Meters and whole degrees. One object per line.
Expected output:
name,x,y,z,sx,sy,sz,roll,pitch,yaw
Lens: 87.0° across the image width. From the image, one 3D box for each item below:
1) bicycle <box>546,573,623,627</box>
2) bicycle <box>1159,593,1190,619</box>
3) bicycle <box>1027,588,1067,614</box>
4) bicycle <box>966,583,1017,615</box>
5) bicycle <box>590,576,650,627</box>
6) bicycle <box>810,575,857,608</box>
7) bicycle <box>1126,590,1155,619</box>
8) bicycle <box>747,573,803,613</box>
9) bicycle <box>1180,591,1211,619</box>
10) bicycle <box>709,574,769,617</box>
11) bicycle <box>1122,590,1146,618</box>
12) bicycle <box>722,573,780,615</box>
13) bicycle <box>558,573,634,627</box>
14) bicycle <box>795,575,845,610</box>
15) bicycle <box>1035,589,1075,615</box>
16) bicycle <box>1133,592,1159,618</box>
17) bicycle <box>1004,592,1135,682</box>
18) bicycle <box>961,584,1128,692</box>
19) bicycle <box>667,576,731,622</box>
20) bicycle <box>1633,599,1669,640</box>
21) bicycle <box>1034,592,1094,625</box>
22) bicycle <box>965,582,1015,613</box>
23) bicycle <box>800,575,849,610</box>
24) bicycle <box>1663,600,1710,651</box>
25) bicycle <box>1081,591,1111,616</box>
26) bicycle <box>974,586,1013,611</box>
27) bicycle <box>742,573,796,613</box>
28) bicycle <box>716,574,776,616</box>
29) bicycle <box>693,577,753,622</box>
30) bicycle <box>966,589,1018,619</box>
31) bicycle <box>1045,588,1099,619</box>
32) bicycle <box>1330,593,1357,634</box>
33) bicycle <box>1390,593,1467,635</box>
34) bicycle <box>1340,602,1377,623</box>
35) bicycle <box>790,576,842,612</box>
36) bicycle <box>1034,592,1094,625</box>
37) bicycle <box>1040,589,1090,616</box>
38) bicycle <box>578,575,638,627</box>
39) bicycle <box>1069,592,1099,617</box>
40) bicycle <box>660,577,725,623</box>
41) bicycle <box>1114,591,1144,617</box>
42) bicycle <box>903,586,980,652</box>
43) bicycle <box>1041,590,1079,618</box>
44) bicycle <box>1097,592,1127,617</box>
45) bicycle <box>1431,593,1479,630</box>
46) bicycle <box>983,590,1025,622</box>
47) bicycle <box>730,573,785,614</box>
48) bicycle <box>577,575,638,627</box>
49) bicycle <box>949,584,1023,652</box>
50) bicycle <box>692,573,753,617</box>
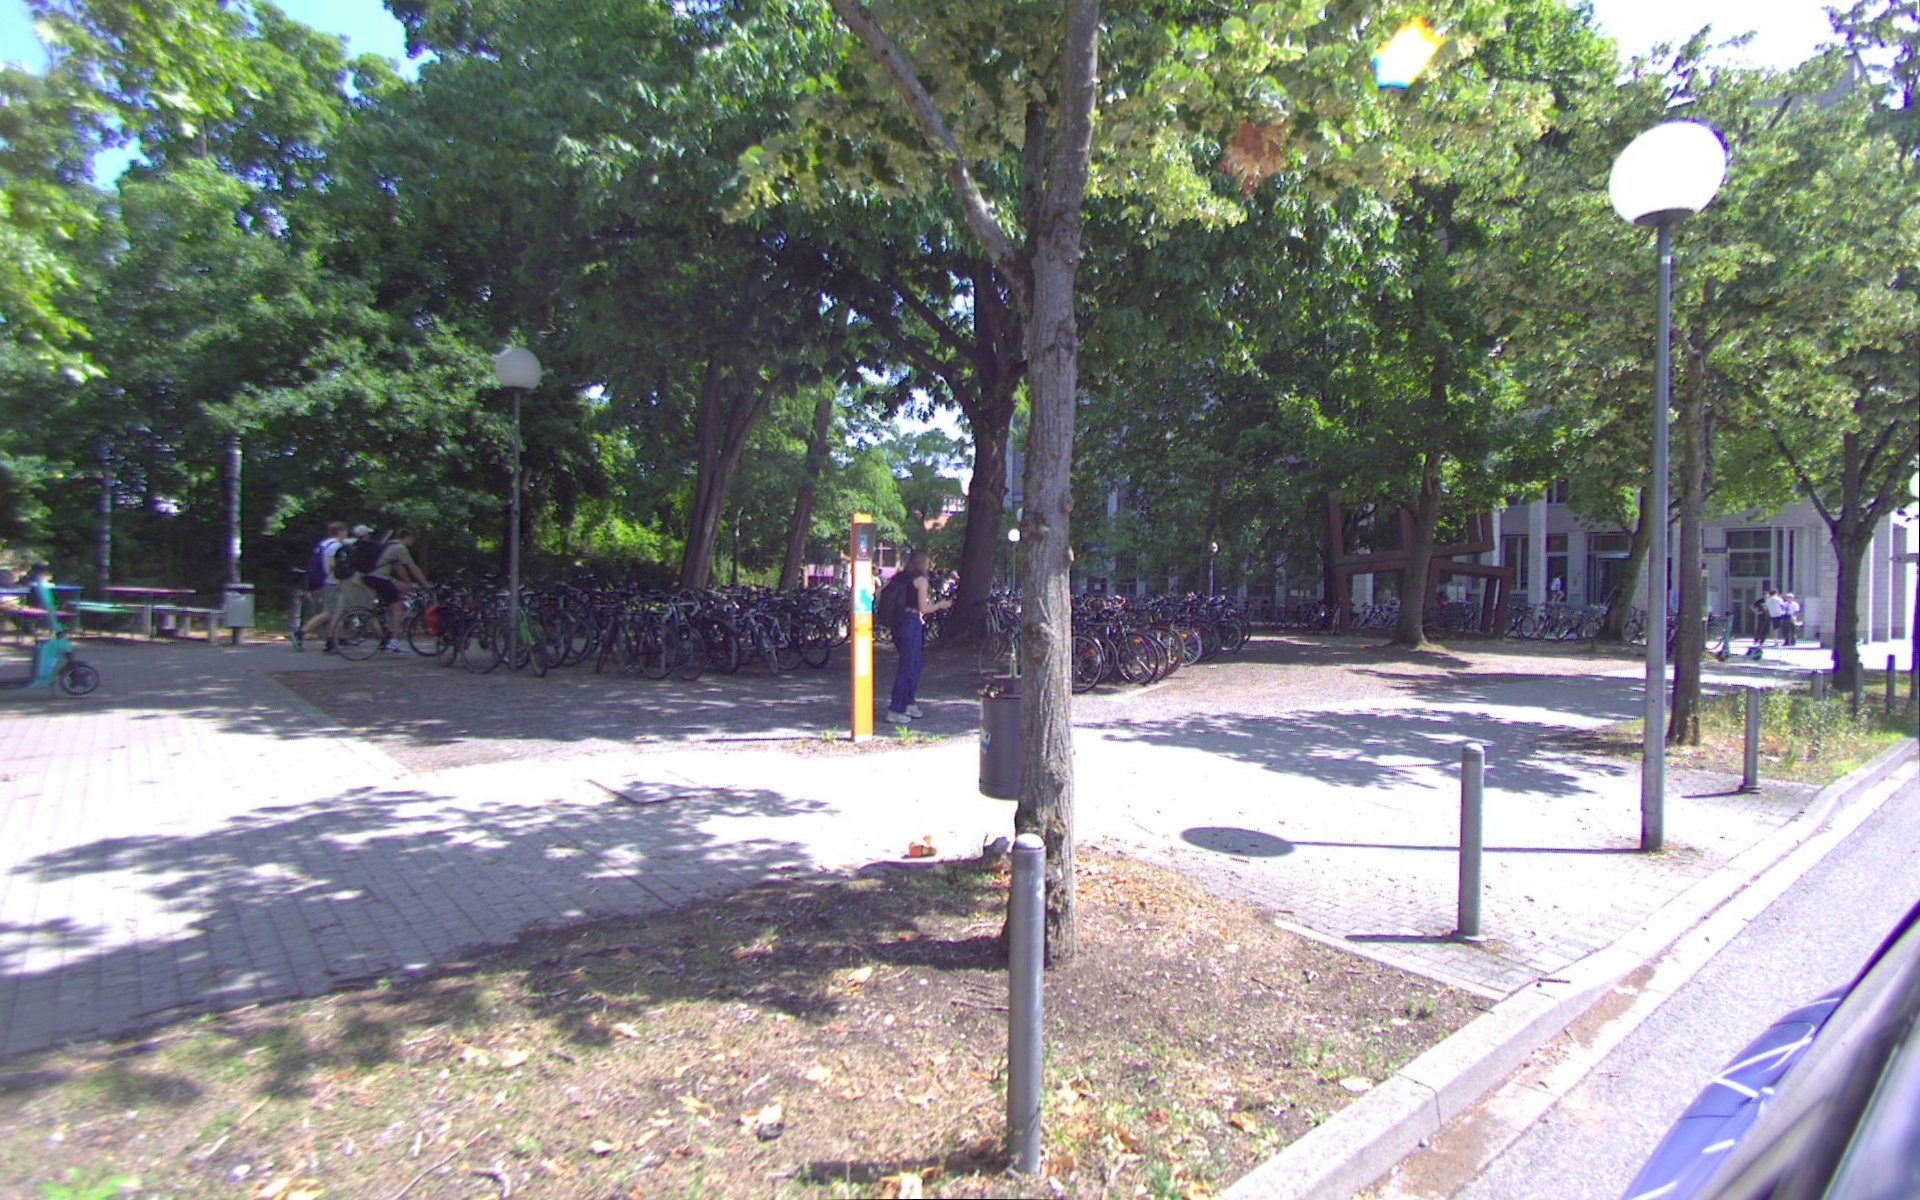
bicycle,-8.199,-0.008,22.100,1.734,1.107,0.475,2,1,24
bicycle,9.229,0.269,43.469,0.477,1.098,1.661,-2,-3,44
bicycle,3.797,0.059,44.296,1.653,1.098,0.479,0,-2,-9
bicycle,1.009,-0.036,32.564,1.571,0.991,0.403,2,1,11
bicycle,-7.888,0.012,23.463,1.598,1.107,0.344,3,2,31
bicycle,-4.456,-0.312,35.681,1.586,1.107,0.347,2,1,12
bicycle,7.147,0.173,40.102,1.448,1.097,0.352,1,0,-45
bicycle,-5.502,-0.211,30.108,1.592,1.107,0.475,2,1,21
bicycle,9.872,0.228,42.450,0.477,1.144,1.661,-2,-3,44
bicycle,-6.032,-0.137,27.664,1.592,1.107,0.475,2,1,21
bicycle,7.130,0.164,41.519,0.350,1.097,1.452,1,0,36
bicycle,-5.946,-0.177,28.725,1.592,1.107,0.475,2,1,21
bicycle,-8.070,-0.014,22.421,1.734,1.107,0.475,2,1,24
bicycle,-4.648,-0.244,33.574,1.586,1.107,0.347,2,1,12
bicycle,4.115,0.098,43.853,1.653,1.098,0.479,0,-2,-9
bicycle,8.190,0.224,44.517,0.475,1.098,1.666,-1,-2,35
bicycle,1.446,0.461,13.556,1.764,1.096,0.432,2,1,38
bicycle,1.003,0.426,12.387,2.010,1.181,0.643,2,1,38
bicycle,-6.731,-0.029,26.096,1.592,1.107,0.475,2,1,21
bicycle,20.616,0.584,30.184,1.464,1.155,0.560,3,1,-44
bicycle,3.339,0.259,32.548,1.871,0.991,0.478,2,1,6
bicycle,0.999,-0.085,33.683,1.571,0.991,0.403,2,1,11
bicycle,-4.552,-0.253,33.946,1.586,1.107,0.347,2,1,12
bicycle,17.320,0.595,24.164,0.622,1.097,1.674,-1,2,26
bicycle,6.247,0.158,46.361,0.477,1.098,1.661,-2,-3,44
bicycle,1.426,-0.060,43.632,1.655,1.098,0.479,0,-2,-2
bicycle,-5.620,-0.206,29.773,1.592,1.107,0.346,2,1,21
bicycle,-5.922,-0.144,27.998,1.592,1.107,0.475,2,1,21
bicycle,-6.238,-0.021,26.629,1.592,1.107,0.346,2,1,21
bicycle,1.126,0.133,35.183,1.769,0.991,0.378,2,1,3
bicycle,3.945,0.120,35.736,1.870,0.991,0.478,2,1,5
bicycle,11.416,0.384,30.162,0.468,1.123,1.664,1,2,12
bicycle,13.402,0.389,28.992,1.895,1.123,0.630,1,1,13
bicycle,17.958,0.558,45.595,1.739,0.911,0.449,1,-1,-22
bicycle,-4.669,-0.211,32.777,1.586,1.107,0.477,2,1,12
bicycle,3.299,0.268,32.172,1.871,0.991,0.478,2,1,6
bicycle,4.065,0.095,39.336,1.874,0.991,0.477,2,1,12
bicycle,-8.063,0.016,23.152,1.598,1.107,0.344,3,2,31
bicycle,5.873,0.224,47.732,0.527,1.098,1.661,-2,-3,44
bicycle,-6.807,-0.017,25.722,1.592,1.107,0.475,2,1,21
bicycle,7.519,0.175,45.004,0.477,1.098,1.661,-2,-3,44
bicycle,-0.296,0.301,17.902,0.474,1.096,1.885,2,2,28
bicycle,4.009,0.151,40.494,1.442,1.098,0.479,0,-2,-8
bicycle,6.876,0.197,45.713,0.477,1.098,1.661,-2,-3,44
bicycle,15.622,0.357,31.904,1.791,1.091,0.464,3,1,-33
bicycle,1.564,0.214,36.034,1.442,1.098,0.353,0,-2,-6
bicycle,-5.832,-0.184,29.057,1.592,1.107,0.346,2,1,21
bicycle,-8.075,0.014,23.157,1.598,1.107,0.344,3,2,31
bicycle,0.482,0.284,17.616,0.474,1.096,1.885,2,2,28
bicycle,-6.351,-0.134,27.052,1.592,1.107,0.475,2,1,21
